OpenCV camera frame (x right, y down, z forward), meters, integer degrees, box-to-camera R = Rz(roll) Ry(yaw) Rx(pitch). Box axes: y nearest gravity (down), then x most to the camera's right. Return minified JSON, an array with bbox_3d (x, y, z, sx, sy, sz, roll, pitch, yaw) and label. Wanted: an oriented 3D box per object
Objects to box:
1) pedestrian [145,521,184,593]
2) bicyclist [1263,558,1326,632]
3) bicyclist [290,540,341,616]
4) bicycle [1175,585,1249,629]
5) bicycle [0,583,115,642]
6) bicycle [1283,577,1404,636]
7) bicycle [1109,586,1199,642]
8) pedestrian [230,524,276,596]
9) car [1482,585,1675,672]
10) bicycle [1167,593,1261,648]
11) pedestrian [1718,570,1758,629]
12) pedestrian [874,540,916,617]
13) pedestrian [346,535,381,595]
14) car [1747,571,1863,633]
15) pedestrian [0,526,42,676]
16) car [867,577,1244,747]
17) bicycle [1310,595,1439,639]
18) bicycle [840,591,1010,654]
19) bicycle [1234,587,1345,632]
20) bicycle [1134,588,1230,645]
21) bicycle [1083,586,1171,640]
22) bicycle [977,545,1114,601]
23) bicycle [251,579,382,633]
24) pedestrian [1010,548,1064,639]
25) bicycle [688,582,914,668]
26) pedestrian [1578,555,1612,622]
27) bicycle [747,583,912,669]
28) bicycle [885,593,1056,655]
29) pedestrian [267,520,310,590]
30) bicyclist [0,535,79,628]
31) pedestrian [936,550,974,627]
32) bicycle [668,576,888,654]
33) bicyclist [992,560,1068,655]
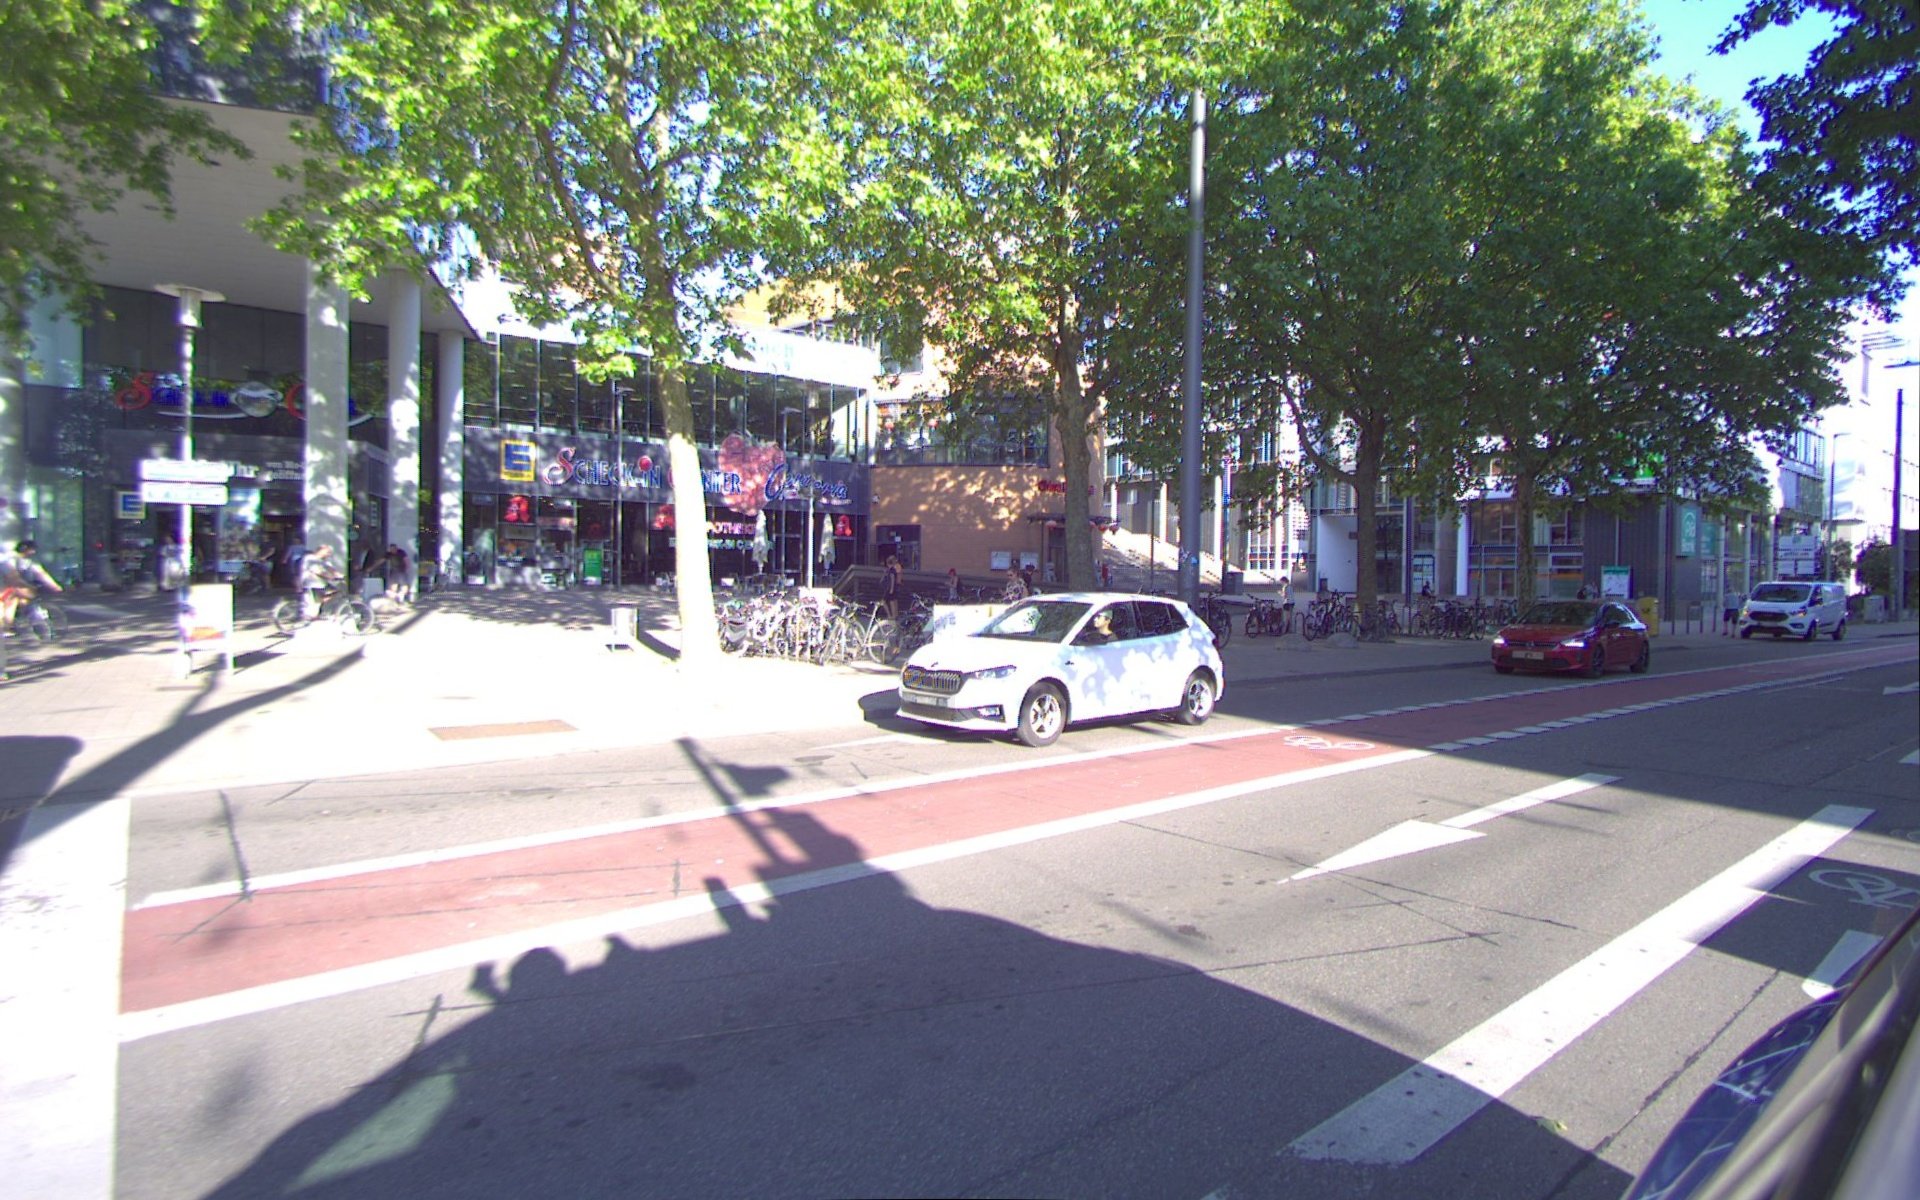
[{"bbox_3d":[-22.784,-1.227,29.003,0.640,2.039,0.825,-1,0,-20],"label":"pedestrian"},{"bbox_3d":[9.528,-0.166,28.878,1.132,2.038,1.301,-1,1,-23],"label":"bicyclist"},{"bbox_3d":[-12.966,-0.450,20.370,0.735,1.503,0.594,0,3,-21],"label":"bicyclist"},{"bbox_3d":[7.359,0.173,29.450,2.653,1.215,0.698,-1,1,-41],"label":"bicycle"},{"bbox_3d":[-16.229,0.205,17.732,2.058,0.964,0.749,0,3,-30],"label":"bicycle"},{"bbox_3d":[10.205,0.154,26.900,3.156,1.503,0.896,0,1,-19],"label":"bicycle"},{"bbox_3d":[4.390,0.288,22.792,2.264,1.176,0.671,-1,1,-39],"label":"bicycle"},{"bbox_3d":[-20.413,-1.137,29.234,0.829,2.039,0.822,-1,0,-16],"label":"pedestrian"},{"bbox_3d":[11.957,0.483,19.479,4.118,1.508,1.835,0,0,-38],"label":"car"},{"bbox_3d":[5.394,0.414,21.406,2.295,1.073,0.682,-1,2,-39],"label":"bicycle"},{"bbox_3d":[27.276,-0.017,35.478,0.959,2.039,0.816,1,-1,-31],"label":"pedestrian"},{"bbox_3d":[-1.964,-0.642,30.605,1.195,2.276,1.052,-1,0,-3],"label":"pedestrian"},{"bbox_3d":[-17.757,-1.042,30.135,0.820,1.765,0.647,0,1,-24],"label":"pedestrian"},{"bbox_3d":[29.104,0.028,34.767,5.811,1.989,1.933,0,1,-38],"label":"car"},{"bbox_3d":[-12.611,-0.001,13.013,0.857,1.912,0.813,1,2,2],"label":"pedestrian"},{"bbox_3d":[1.179,0.523,11.048,4.124,1.508,1.833,-1,1,-43],"label":"car"},{"bbox_3d":[10.561,0.421,25.796,3.136,1.038,0.979,-1,0,-18],"label":"bicycle"},{"bbox_3d":[-0.621,0.391,19.552,3.352,1.013,1.051,-1,6,-41],"label":"bicycle"},{"bbox_3d":[9.409,0.239,29.134,1.124,1.097,3.343,0,3,-23],"label":"bicycle"},{"bbox_3d":[4.900,0.333,22.213,2.355,1.176,0.751,-1,1,-39],"label":"bicycle"},{"bbox_3d":[3.874,0.268,23.358,2.251,1.176,0.657,-1,0,-38],"label":"bicycle"},{"bbox_3d":[1.588,-0.482,18.427,2.591,0.960,0.924,-1,1,-41],"label":"bicycle"},{"bbox_3d":[-12.932,0.108,20.413,2.149,1.026,0.603,0,3,-21],"label":"bicycle"},{"bbox_3d":[1.789,-0.169,23.489,0.922,2.038,1.085,1,1,24],"label":"pedestrian"},{"bbox_3d":[-2.553,0.359,16.830,3.744,1.236,0.758,-2,1,-35],"label":"bicycle"},{"bbox_3d":[26.025,-0.465,41.512,0.967,2.681,0.897,-1,0,18],"label":"pedestrian"},{"bbox_3d":[-2.042,0.370,16.069,2.504,1.236,0.758,-2,1,-35],"label":"bicycle"},{"bbox_3d":[0.253,0.408,19.005,3.352,1.014,1.050,-1,1,-41],"label":"bicycle"},{"bbox_3d":[-19.917,-1.317,30.042,0.815,2.039,0.827,-1,0,-15],"label":"pedestrian"},{"bbox_3d":[-16.228,-0.330,17.747,1.010,1.586,0.809,-1,1,-30],"label":"bicyclist"},{"bbox_3d":[-0.145,-0.352,30.264,0.884,2.261,0.845,-1,0,-18],"label":"pedestrian"},{"bbox_3d":[-3.051,0.271,17.445,3.743,1.236,0.729,2,-1,-35],"label":"bicycle"},{"bbox_3d":[1.257,0.123,18.147,1.005,1.640,0.902,-1,0,-40],"label":"bicyclist"}]
